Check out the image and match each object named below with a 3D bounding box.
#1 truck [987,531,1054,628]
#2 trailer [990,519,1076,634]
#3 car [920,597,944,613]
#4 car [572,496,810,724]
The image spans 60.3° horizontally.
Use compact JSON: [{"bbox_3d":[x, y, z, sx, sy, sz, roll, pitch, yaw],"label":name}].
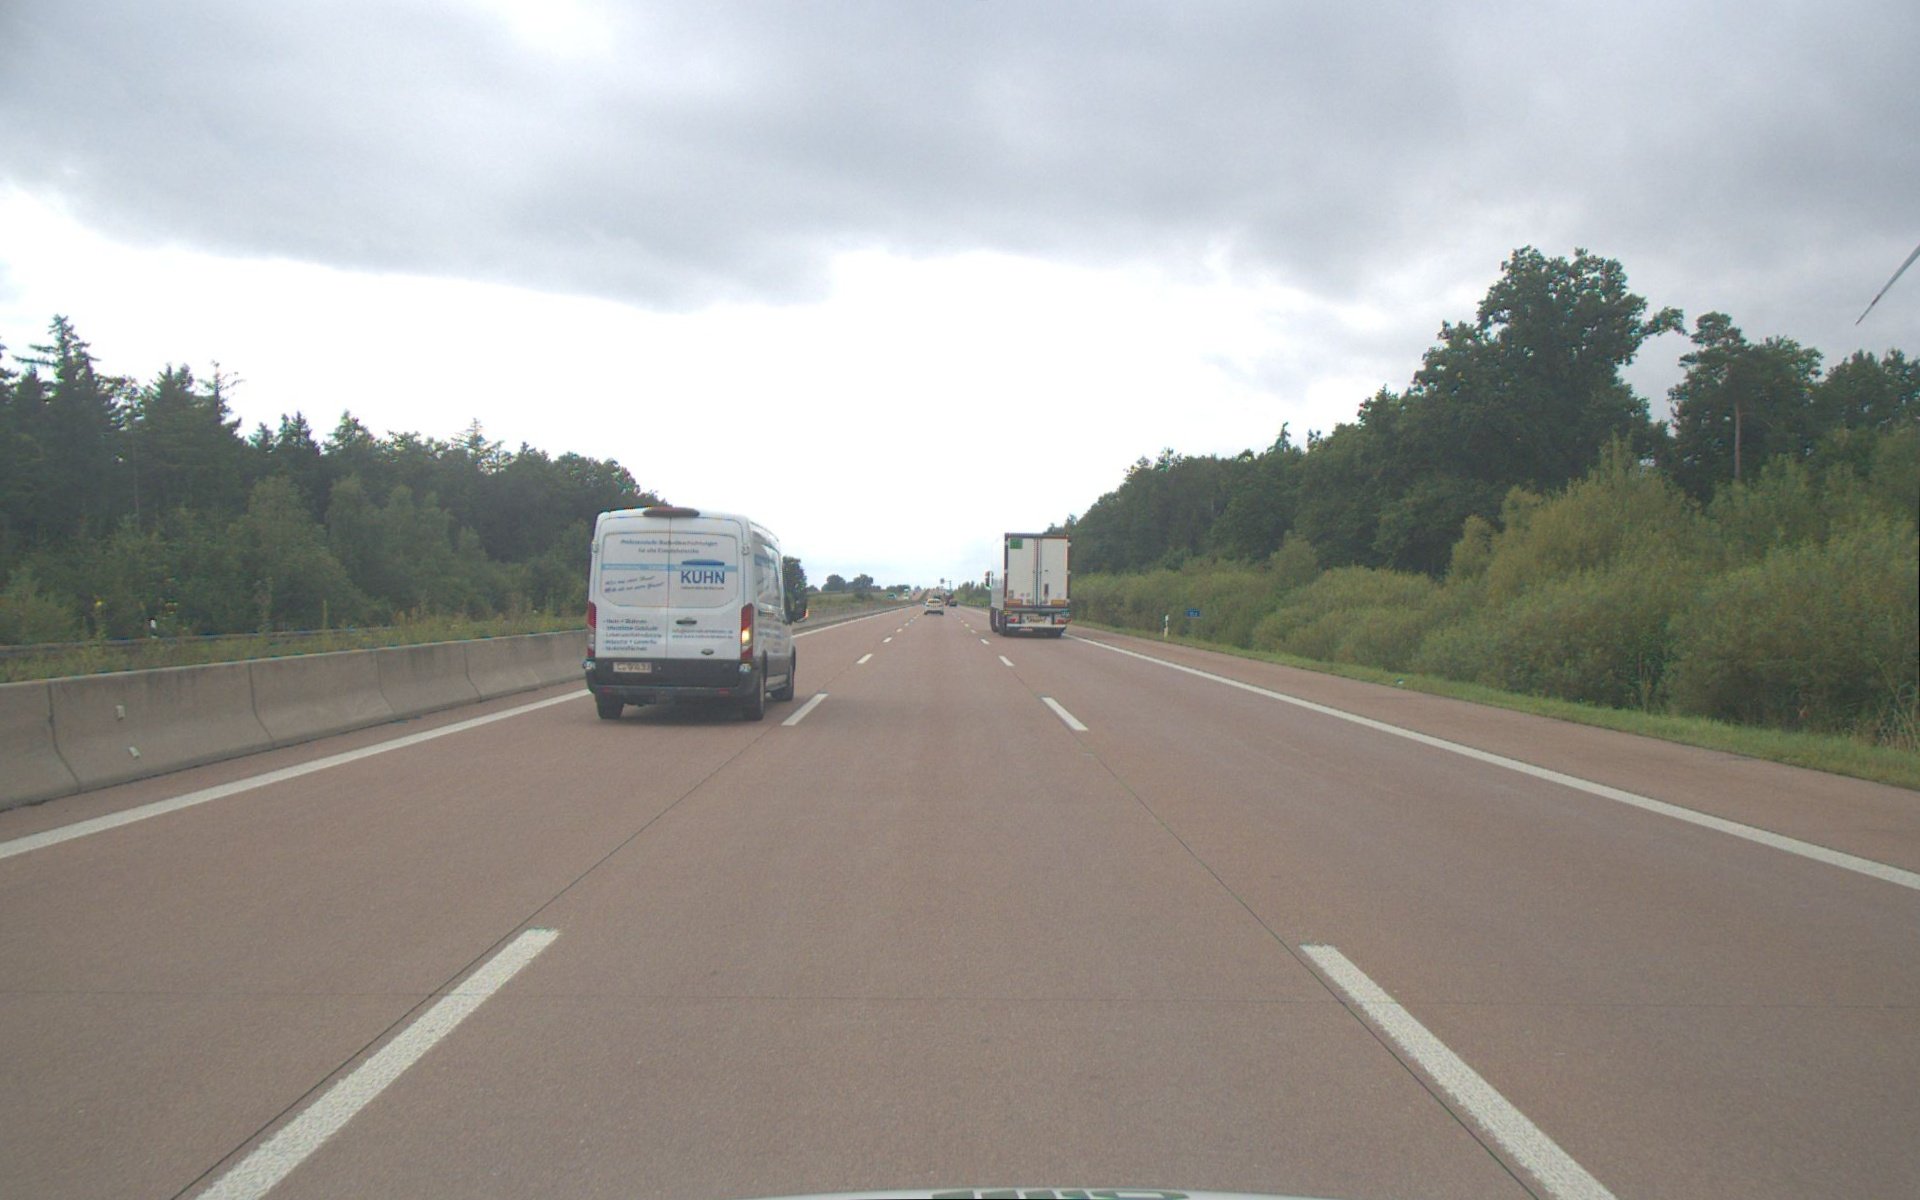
[{"bbox_3d":[2.802,-0.915,77.522,2.862,4.369,5.334,0,0,-1],"label":"truck"},{"bbox_3d":[2.898,-0.895,69.818,2.862,4.369,13.611,0,0,-1],"label":"trailer"},{"bbox_3d":[-2.631,0.476,157.230,2.119,1.476,4.719,2,0,1],"label":"car"},{"bbox_3d":[-3.335,0.087,22.102,2.094,2.551,7.130,0,0,-1],"label":"car"}]
